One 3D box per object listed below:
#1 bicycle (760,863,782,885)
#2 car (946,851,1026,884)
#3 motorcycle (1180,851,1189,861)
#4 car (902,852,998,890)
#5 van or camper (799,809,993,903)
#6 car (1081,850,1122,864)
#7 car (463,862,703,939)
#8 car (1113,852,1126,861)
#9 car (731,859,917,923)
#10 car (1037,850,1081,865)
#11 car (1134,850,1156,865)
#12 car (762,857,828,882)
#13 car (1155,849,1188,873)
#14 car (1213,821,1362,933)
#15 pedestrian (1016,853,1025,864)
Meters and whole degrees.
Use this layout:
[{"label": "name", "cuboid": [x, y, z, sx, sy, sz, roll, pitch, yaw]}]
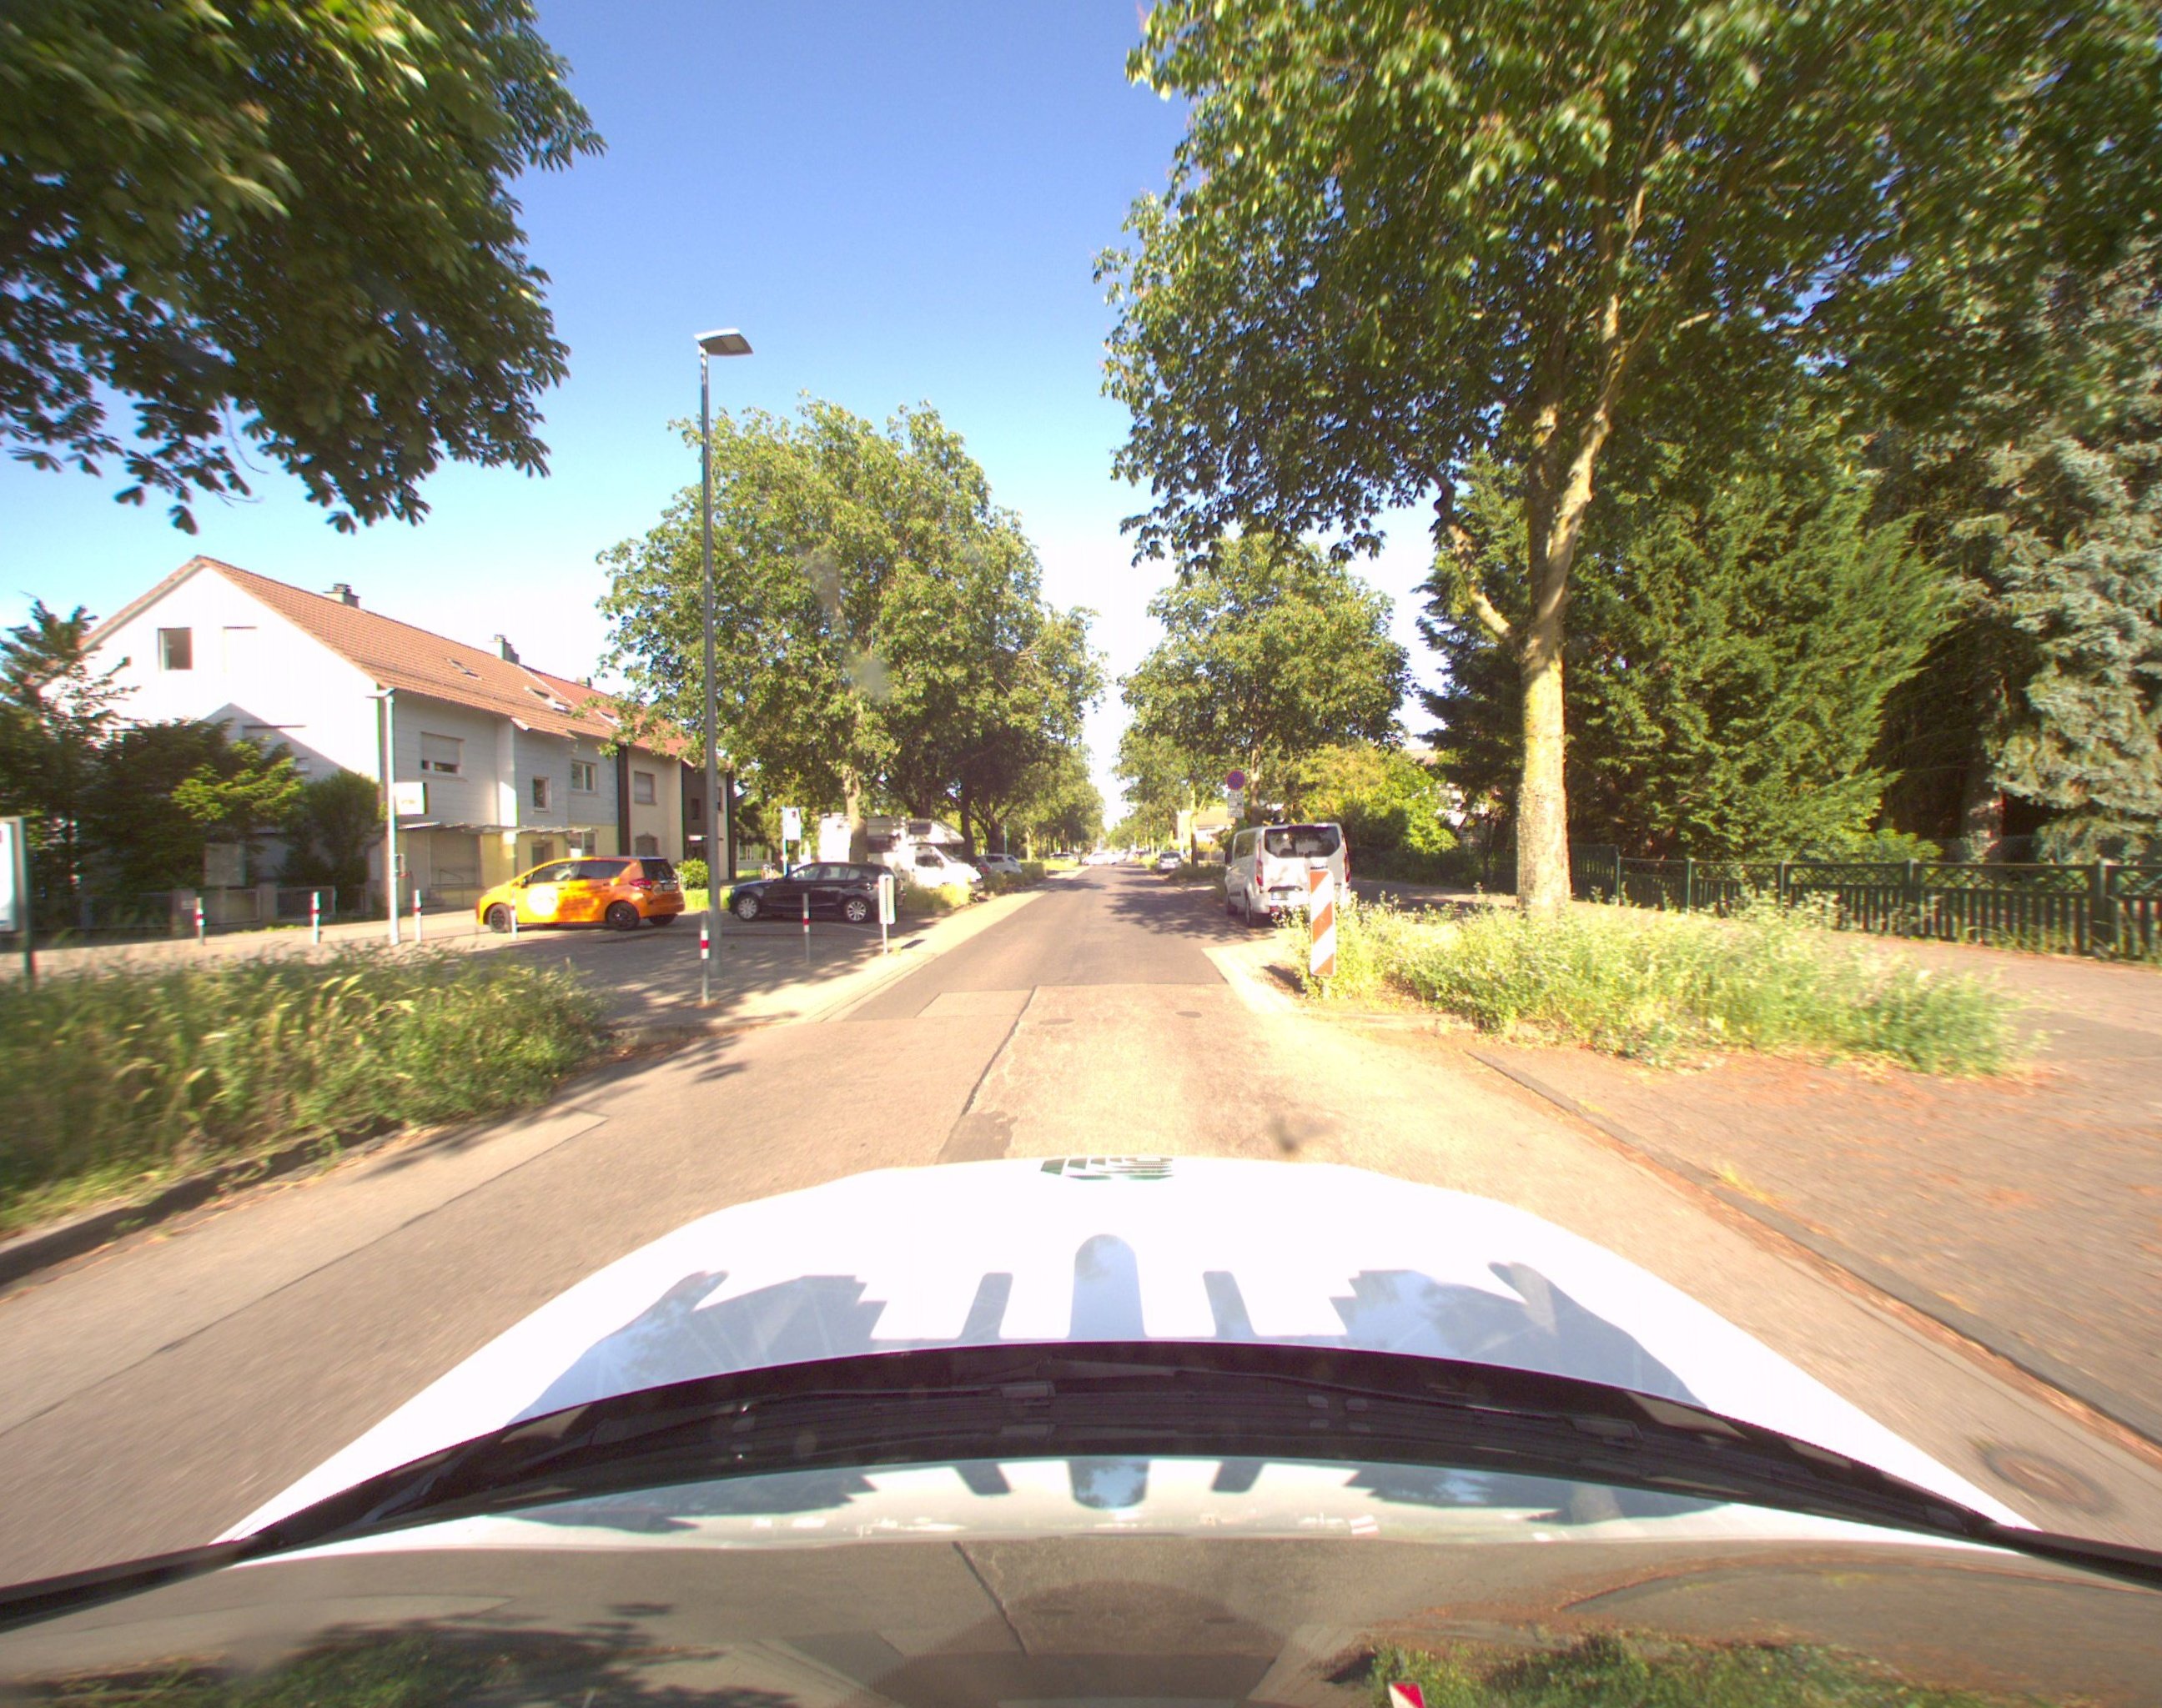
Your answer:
[{"label": "bicycle", "cuboid": [-18.532, 1.186, 48.696, 0.705, 1.176, 4.037, -2, 1, -14]}, {"label": "car", "cuboid": [-5.019, 0.698, 43.495, 3.973, 1.661, 1.967, -1, 0, 1]}, {"label": "motorcycle", "cuboid": [12.361, 0.248, 97.588, 0.815, 1.227, 2.353, -3, 0, 2]}, {"label": "car", "cuboid": [-5.978, 0.770, 37.496, 3.973, 1.589, 2.000, 2, -1, 1]}, {"label": "van or camper", "cuboid": [-5.983, 0.072, 26.778, 5.750, 2.805, 2.002, 2, -1, 4]}, {"label": "car", "cuboid": [2.297, 0.313, 90.894, 4.170, 1.455, 2.013, -1, 0, 34]}, {"label": "car", "cuboid": [-10.618, 0.950, 17.614, 3.978, 1.542, 1.868, 0, 0, -3]}, {"label": "car", "cuboid": [6.833, 0.399, 143.743, 1.987, 1.508, 3.657, 2, 0, -1]}, {"label": "car", "cuboid": [-6.216, 0.868, 19.954, 3.967, 1.450, 1.642, 1, -1, 5]}, {"label": "car", "cuboid": [-2.420, 0.384, 89.734, 4.651, 1.503, 2.002, -1, 0, 3]}, {"label": "car", "cuboid": [7.485, 0.443, 95.282, 1.989, 1.622, 4.376, 2, 0, -4]}, {"label": "car", "cuboid": [-20.315, 1.082, 57.954, 3.971, 1.714, 1.823, -1, 0, 2]}, {"label": "car", "cuboid": [6.155, 0.499, 55.136, 1.982, 1.510, 4.010, -2, -1, 9]}, {"label": "car", "cuboid": [4.255, 0.441, 17.696, 1.986, 2.014, 5.197, 2, 0, 1]}, {"label": "pedestrian", "cuboid": [-9.905, 0.772, 133.706, 1.227, 1.827, 1.543, 1, -1, -14]}]
